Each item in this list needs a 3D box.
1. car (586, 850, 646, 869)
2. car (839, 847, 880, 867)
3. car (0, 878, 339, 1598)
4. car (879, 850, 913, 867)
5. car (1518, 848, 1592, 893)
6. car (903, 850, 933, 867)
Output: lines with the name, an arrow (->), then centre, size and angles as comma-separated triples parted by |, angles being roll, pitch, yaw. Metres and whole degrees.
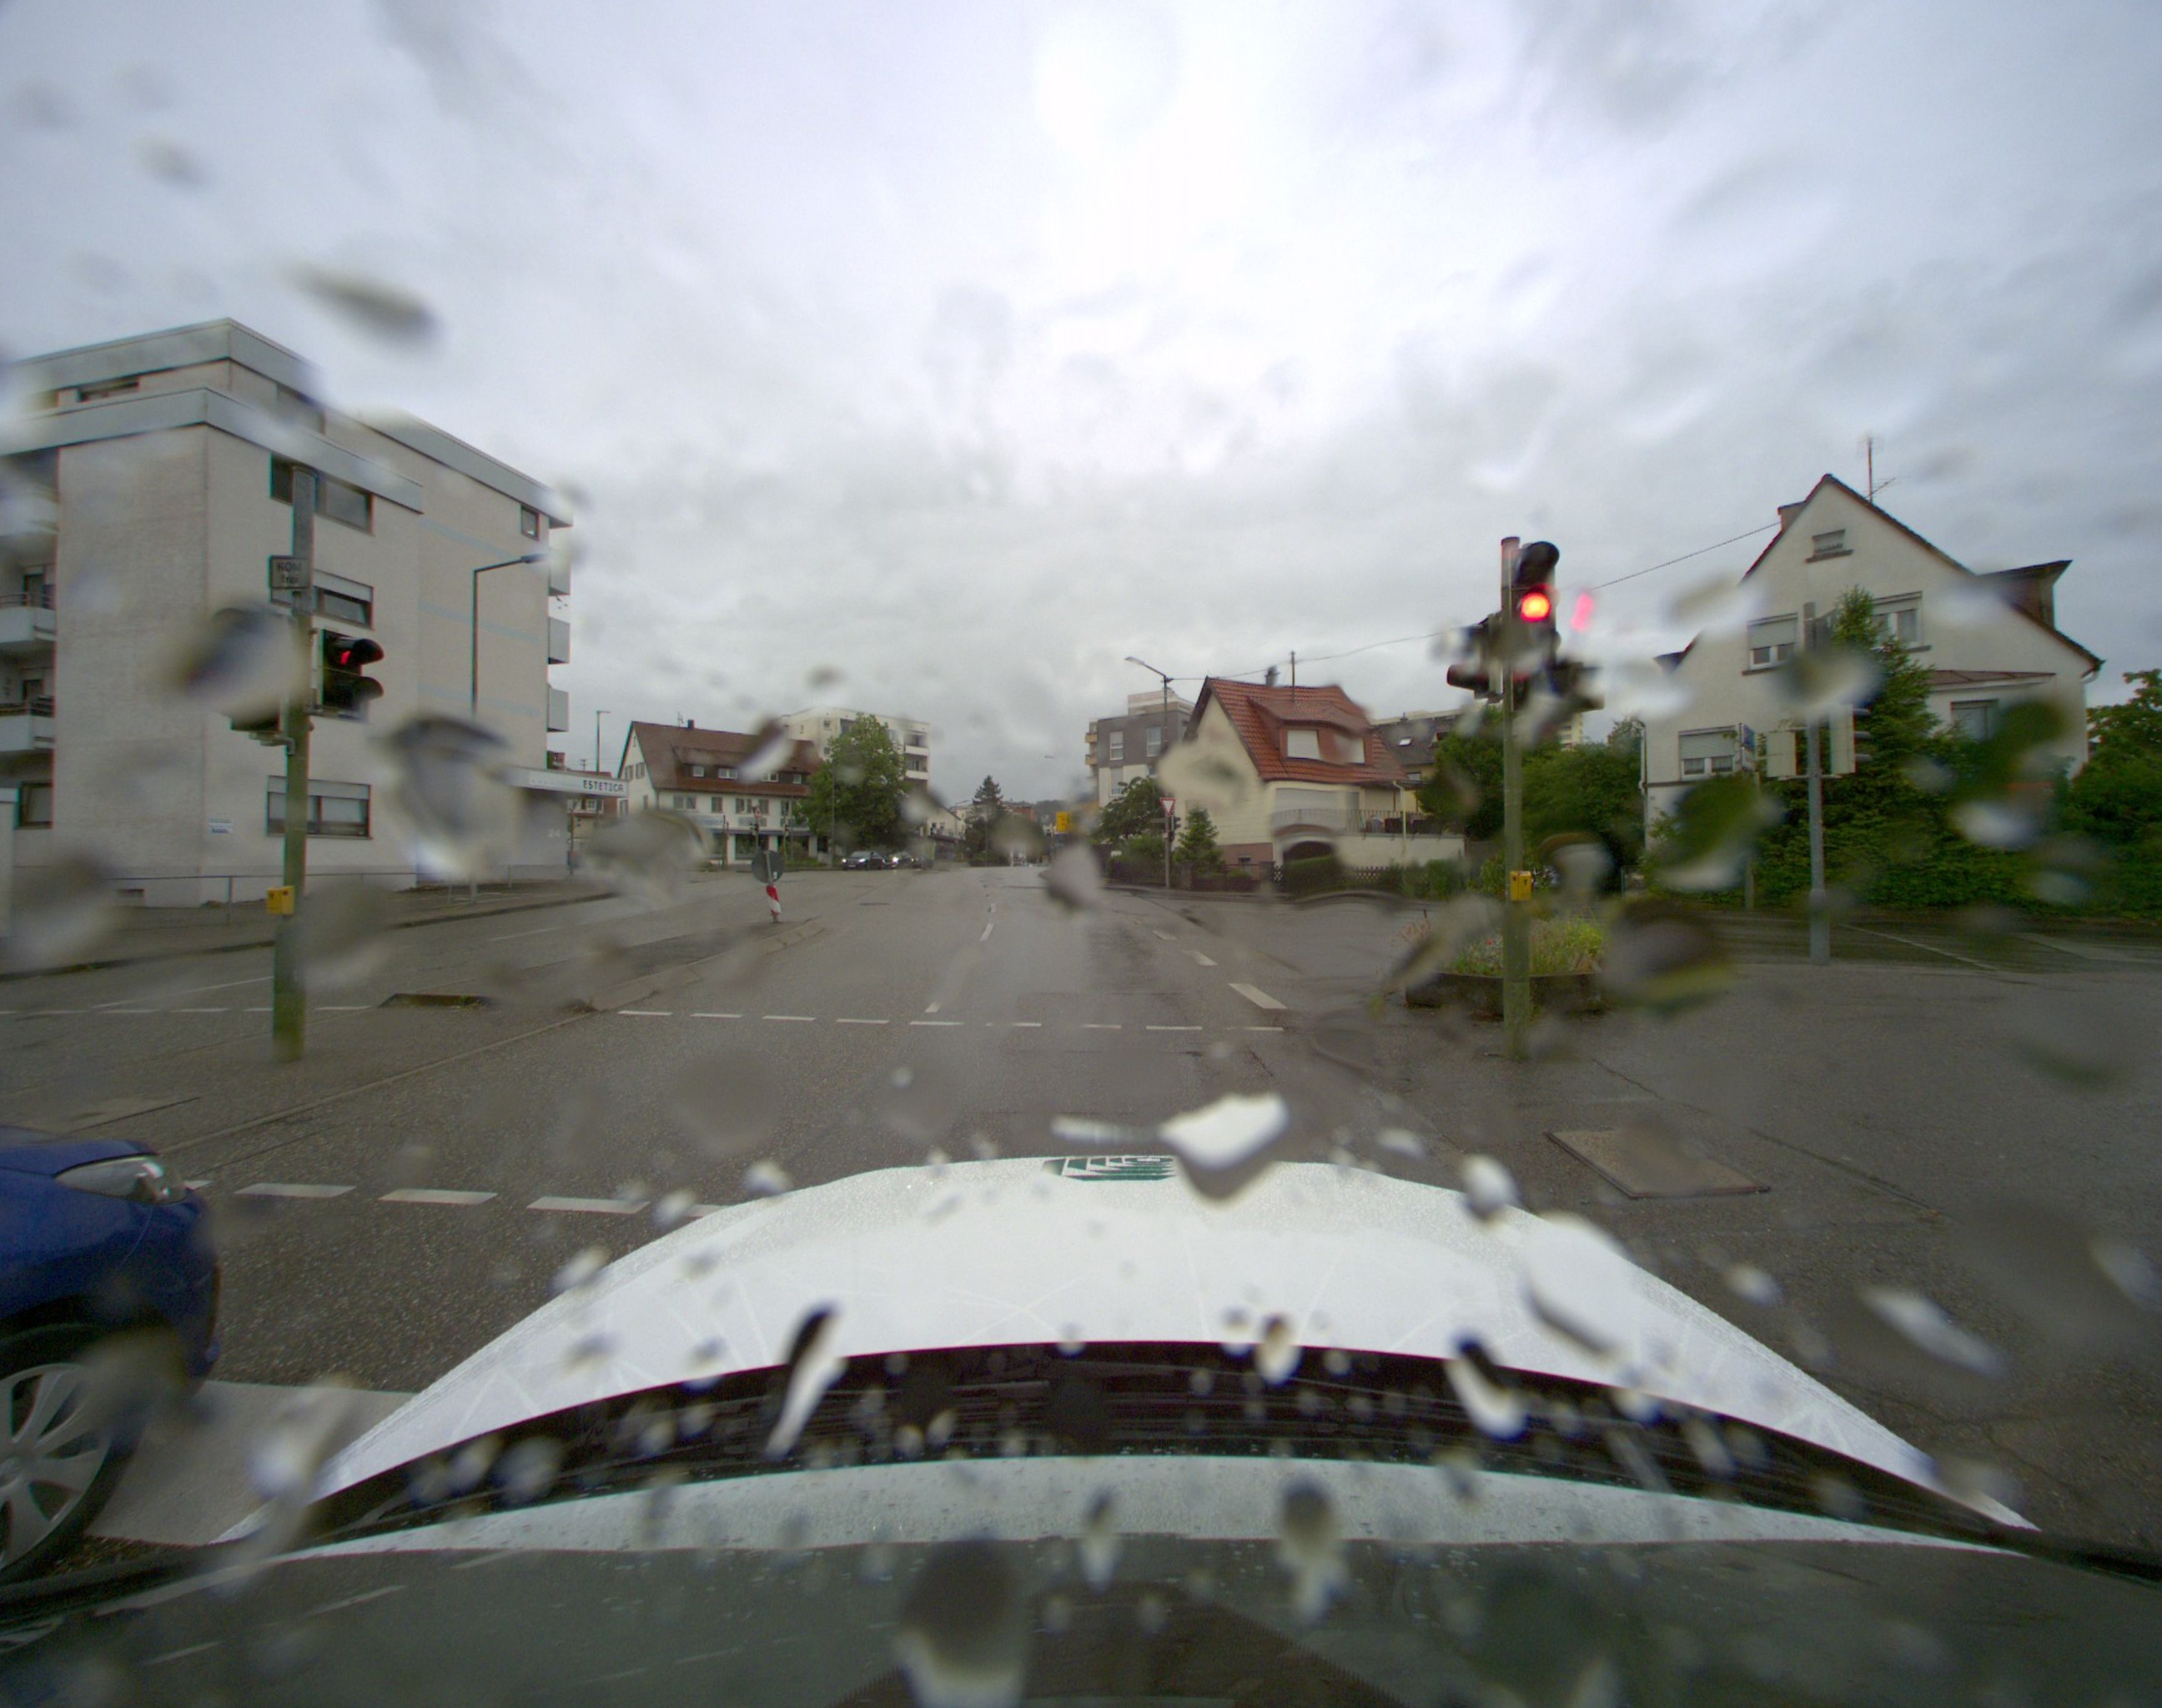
car -> -38.294, 0.417, 67.103 | 3.988, 1.572, 1.850 | 0, 0, -42
car -> -15.935, 0.186, 58.767 | 1.772, 1.420, 3.832 | 0, 0, 2
car -> -2.978, 0.781, 0.712 | 1.572, 1.410, 3.272 | 0, 0, 2
car -> -14.968, 0.349, 66.156 | 1.708, 1.387, 4.022 | 0, 0, 2
car -> 17.106, 0.541, 29.311 | 1.723, 1.514, 4.025 | 0, 0, 39
car -> -14.364, 0.381, 71.952 | 1.772, 1.420, 3.832 | 0, 0, 2
